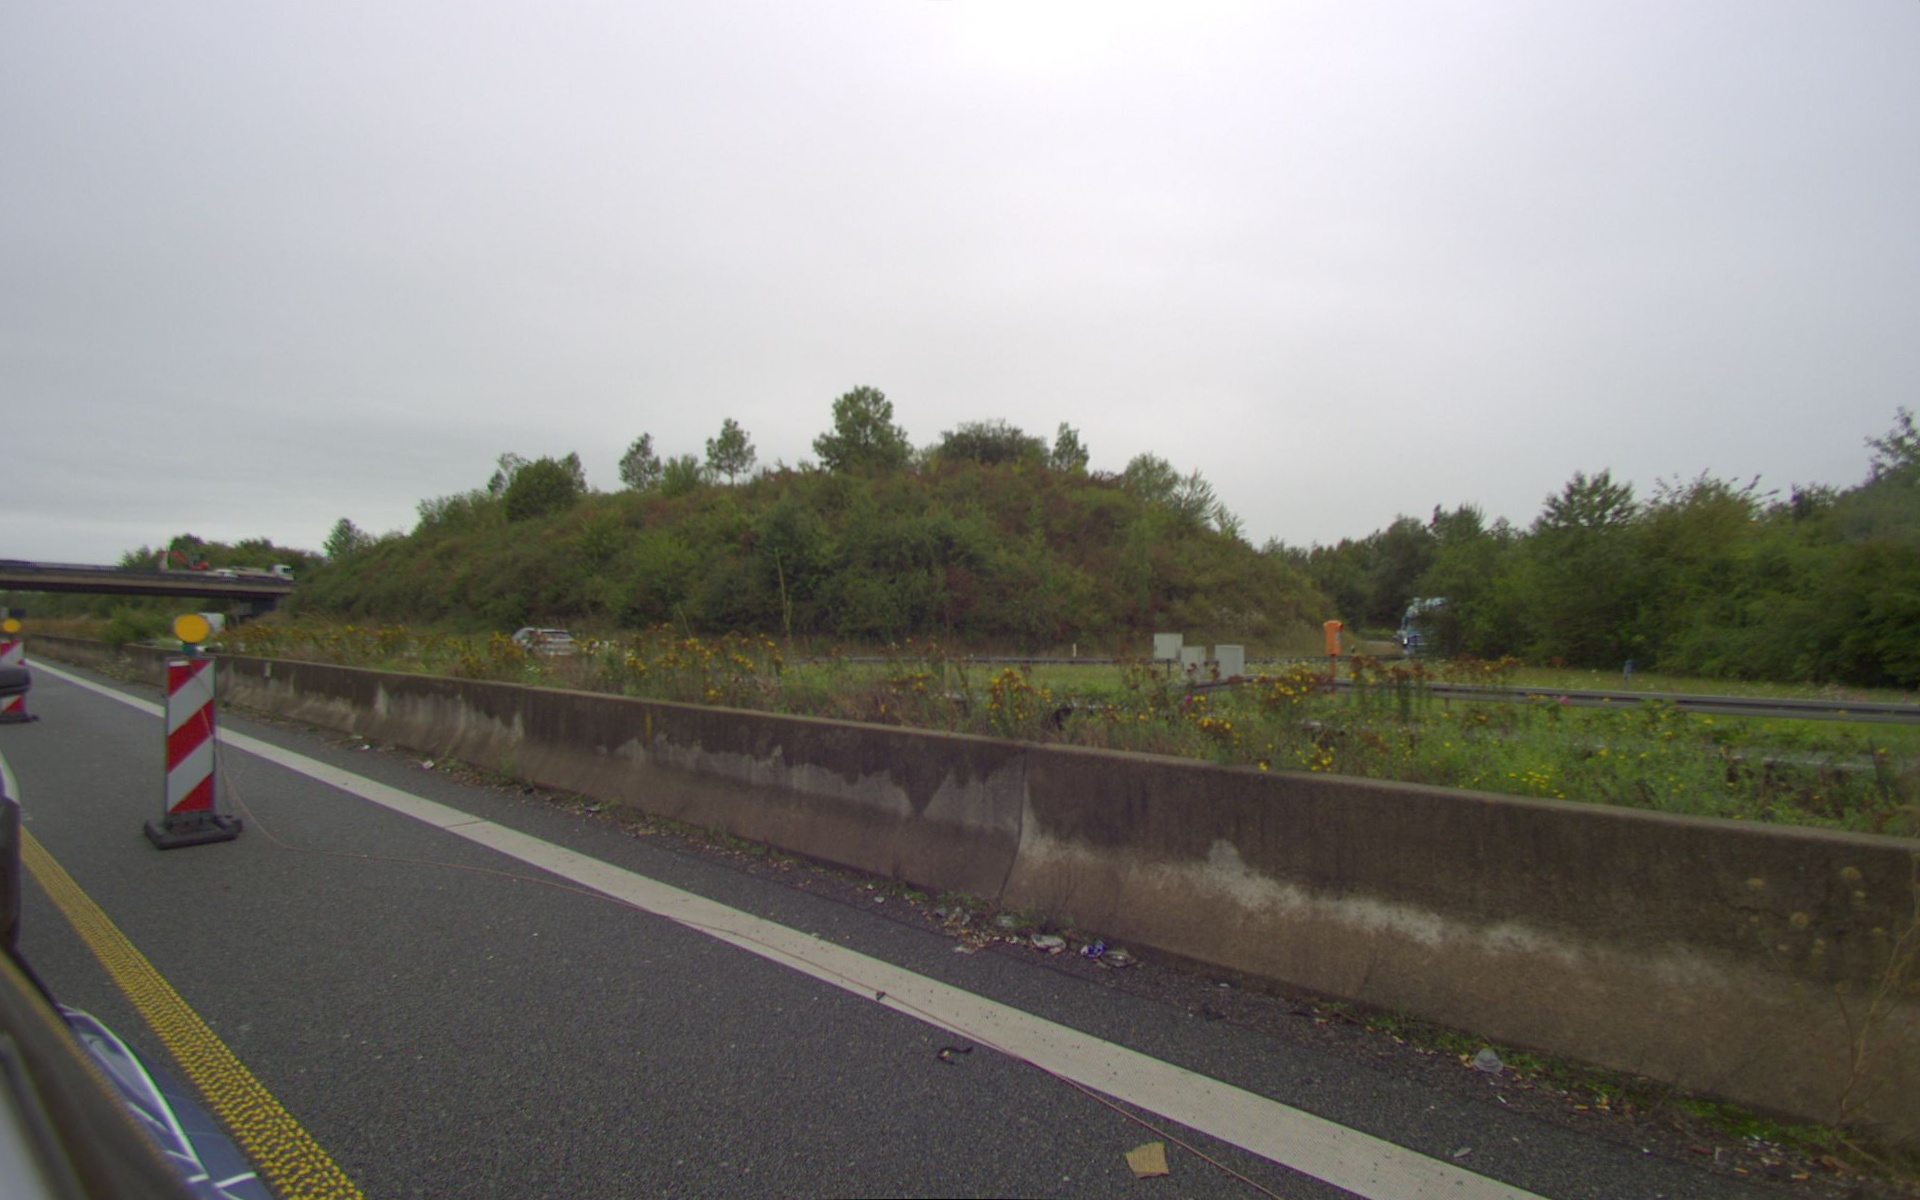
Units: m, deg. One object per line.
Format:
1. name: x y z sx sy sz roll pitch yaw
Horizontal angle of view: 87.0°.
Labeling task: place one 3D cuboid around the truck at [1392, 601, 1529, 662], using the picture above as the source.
1. truck: 33.078 2.093 66.420 14.355 3.647 2.904 2 -3 -42

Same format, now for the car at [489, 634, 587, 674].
1. car: -16.448 2.063 39.407 4.108 1.491 1.972 -2 -3 42

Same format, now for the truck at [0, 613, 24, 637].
1. truck: -186.109 4.801 197.863 17.291 4.558 3.369 0 -1 44

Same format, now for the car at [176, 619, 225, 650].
1. car: -61.162 2.775 81.492 5.885 2.459 2.214 -2 -3 44
